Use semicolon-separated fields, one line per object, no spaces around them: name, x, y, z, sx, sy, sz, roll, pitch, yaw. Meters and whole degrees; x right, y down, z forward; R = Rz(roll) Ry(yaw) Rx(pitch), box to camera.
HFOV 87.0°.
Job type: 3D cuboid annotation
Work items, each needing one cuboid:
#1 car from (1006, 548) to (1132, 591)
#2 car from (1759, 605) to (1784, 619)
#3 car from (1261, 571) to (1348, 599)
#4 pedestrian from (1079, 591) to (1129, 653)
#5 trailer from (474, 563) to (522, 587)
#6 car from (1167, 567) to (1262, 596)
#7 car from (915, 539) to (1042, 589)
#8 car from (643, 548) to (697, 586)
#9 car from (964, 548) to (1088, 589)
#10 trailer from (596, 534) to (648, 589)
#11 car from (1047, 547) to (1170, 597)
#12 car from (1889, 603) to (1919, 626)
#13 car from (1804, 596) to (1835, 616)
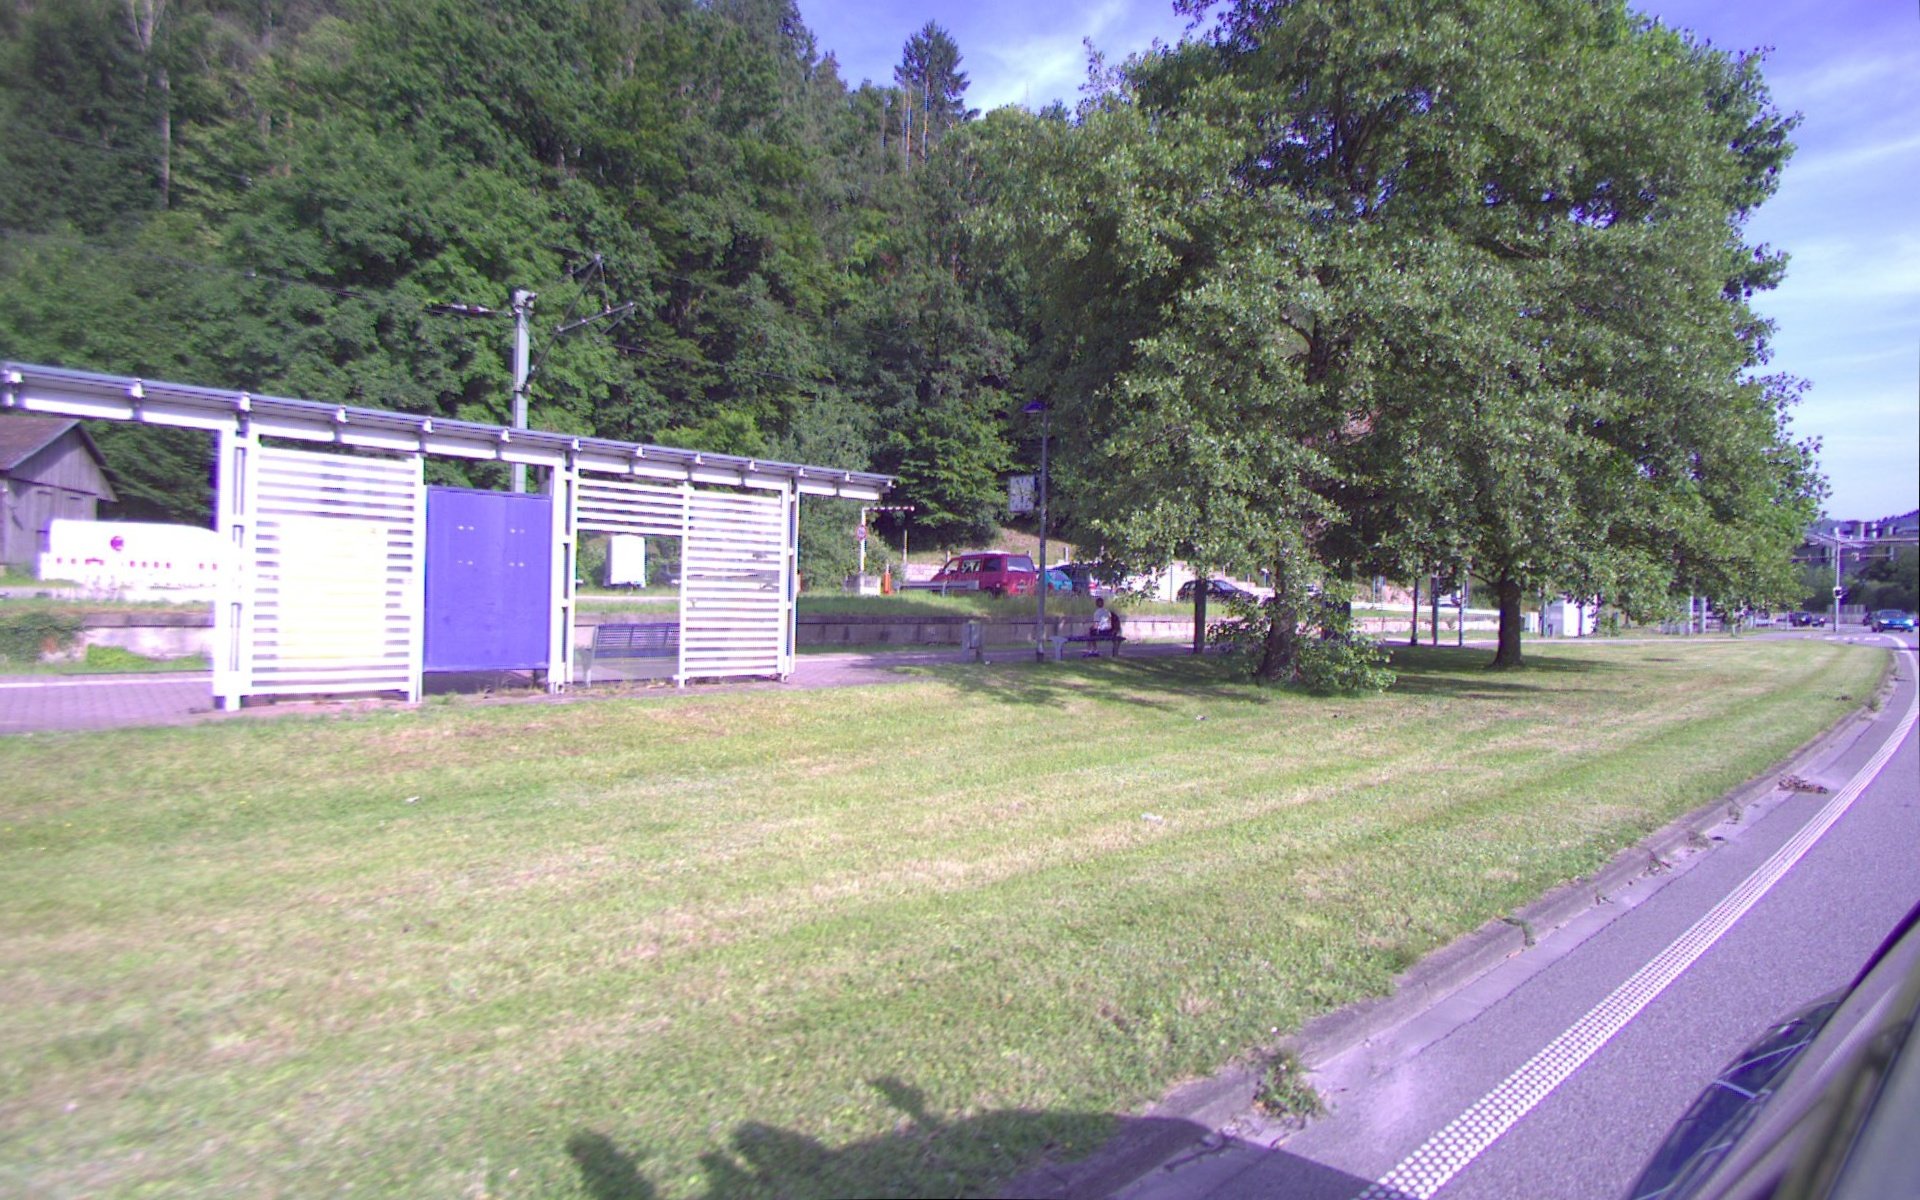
car;4.342;-1.181;40.996;2.104;1.607;4.958;1;0;-42
car;93.702;1.415;116.875;1.864;1.478;3.686;2;2;33
car;18.514;-0.805;54.470;1.778;1.416;4.102;1;0;-42
pedestrian;2.849;0.430;20.004;0.712;1.175;0.638;1;1;-34
trailer;-18.955;-1.033;41.570;1.701;0.926;3.078;1;1;-23
car;12.451;-0.880;49.634;1.800;1.360;4.271;1;0;-42
car;0.609;-1.268;37.645;1.903;1.712;4.958;1;0;-42
car;-12.397;-1.401;43.174;1.636;1.505;3.621;1;2;-25
car;2.483;-1.180;39.403;1.863;1.487;4.958;1;0;-42
trailer;-14.579;-1.638;43.567;1.780;2.217;3.712;1;1;-23
car;6.173;-1.145;42.599;2.104;1.968;4.958;1;0;-42
car;65.220;1.005;69.644;3.518;1.478;1.764;0;2;-45
car;83.105;0.601;97.888;1.989;1.816;3.947;2;2;37
